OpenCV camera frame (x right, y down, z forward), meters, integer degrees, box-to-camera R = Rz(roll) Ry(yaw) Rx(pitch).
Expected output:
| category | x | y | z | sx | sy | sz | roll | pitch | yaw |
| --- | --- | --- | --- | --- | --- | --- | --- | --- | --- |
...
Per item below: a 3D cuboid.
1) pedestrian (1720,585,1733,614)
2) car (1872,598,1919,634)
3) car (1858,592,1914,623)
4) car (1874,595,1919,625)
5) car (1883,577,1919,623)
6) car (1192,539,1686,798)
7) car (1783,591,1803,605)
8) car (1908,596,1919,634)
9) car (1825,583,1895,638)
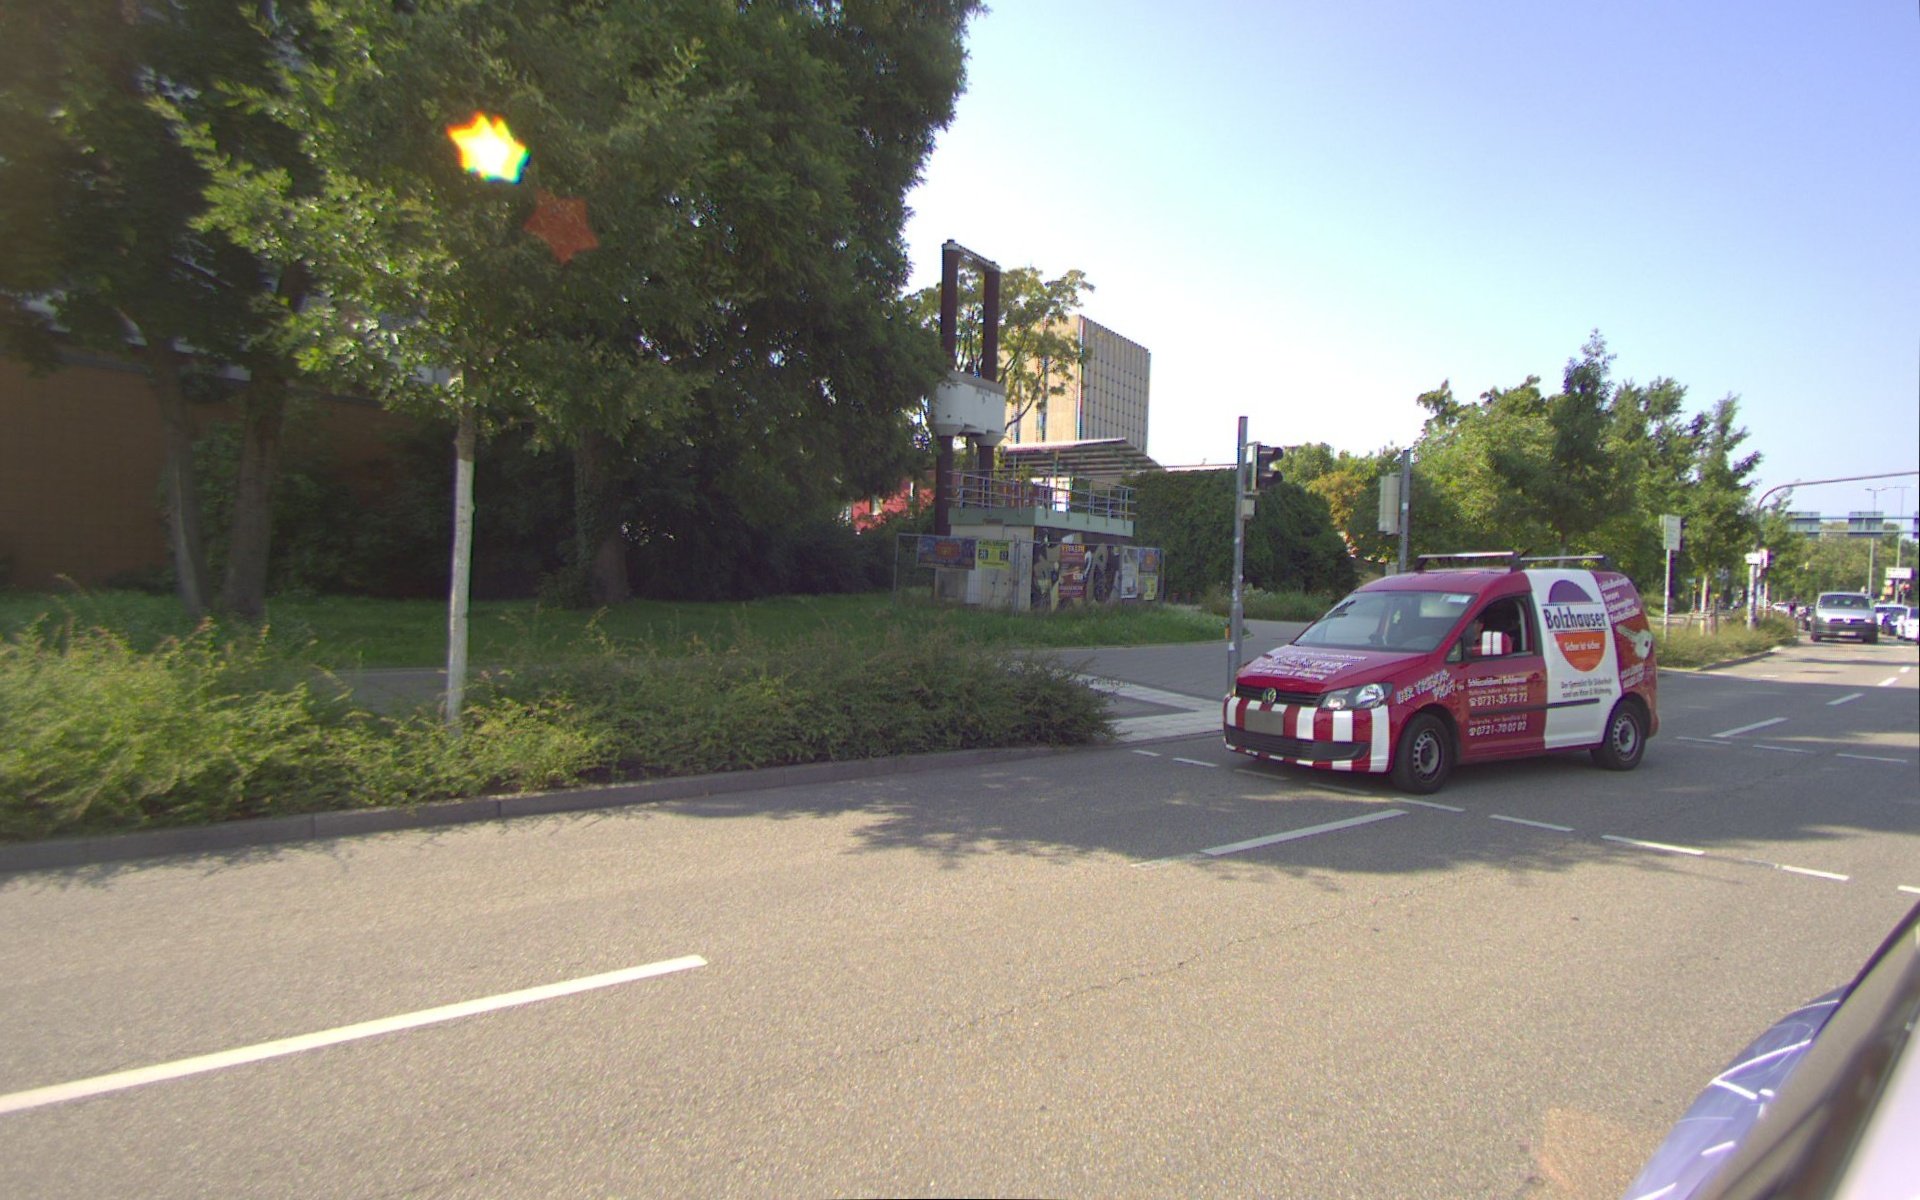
| category | x | y | z | sx | sy | sz | roll | pitch | yaw |
| --- | --- | --- | --- | --- | --- | --- | --- | --- | --- |
| pedestrian | 50.293 | -0.010 | 66.436 | 0.620 | 1.868 | 0.632 | 2 | 1 | 38 |
| car | 43.825 | 0.722 | 47.068 | 1.993 | 1.524 | 4.368 | 3 | 2 | 42 |
| car | 55.996 | 0.427 | 61.244 | 1.921 | 1.680 | 4.240 | 3 | 2 | 35 |
| car | 52.266 | 0.532 | 56.042 | 1.921 | 1.524 | 4.240 | 3 | 2 | 35 |
| car | 46.684 | 0.031 | 49.637 | 1.741 | 2.039 | 3.697 | 3 | -1 | 38 |
| car | 4.268 | 0.482 | 8.922 | 4.190 | 1.842 | 1.740 | 0 | 1 | -27 |
| car | 110.193 | -0.248 | 133.911 | 1.822 | 1.705 | 3.947 | 3 | 2 | 37 |
| car | 41.168 | 0.655 | 42.375 | 1.993 | 1.524 | 4.368 | 3 | 2 | 42 |
| car | 34.414 | 0.363 | 38.732 | 1.840 | 1.898 | 4.898 | 3 | 2 | 42 |
